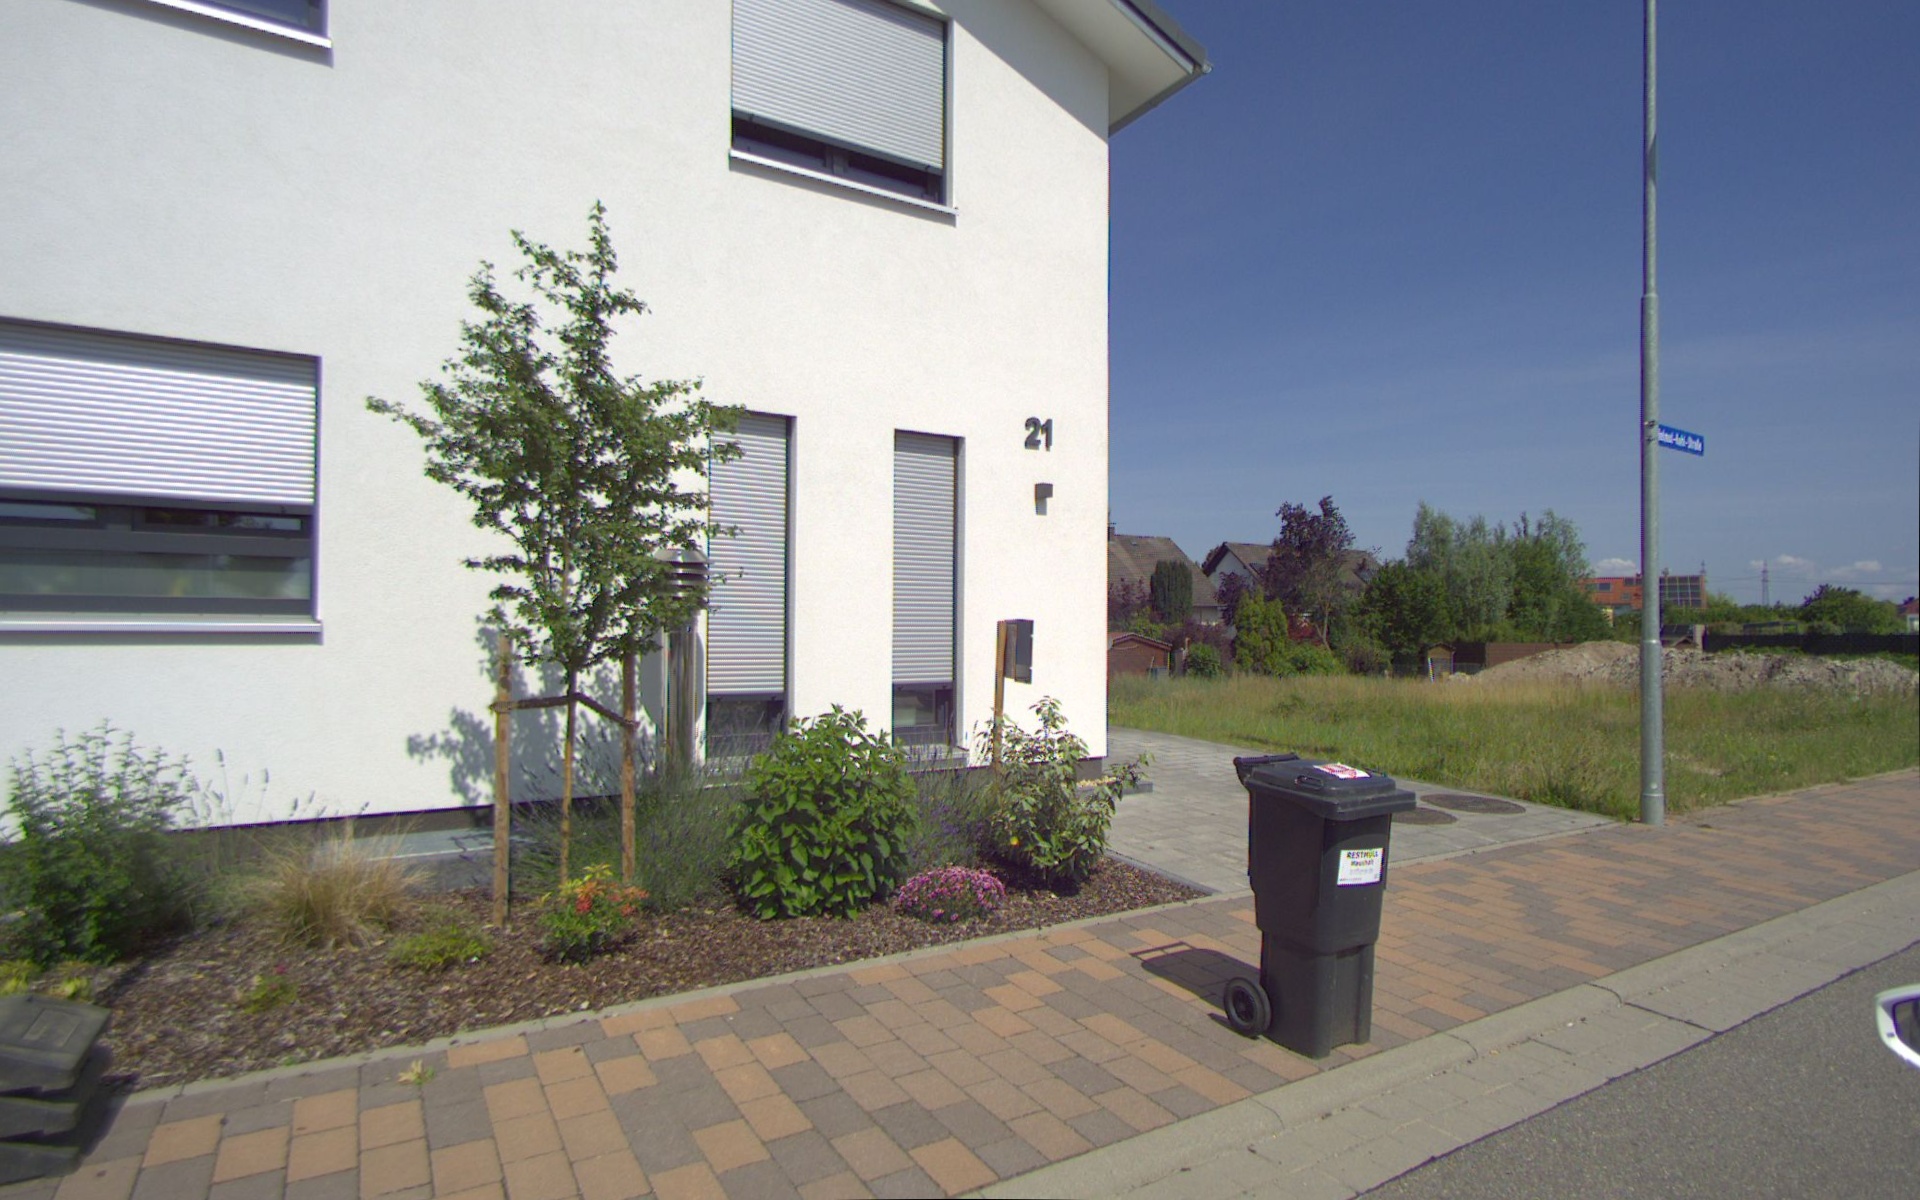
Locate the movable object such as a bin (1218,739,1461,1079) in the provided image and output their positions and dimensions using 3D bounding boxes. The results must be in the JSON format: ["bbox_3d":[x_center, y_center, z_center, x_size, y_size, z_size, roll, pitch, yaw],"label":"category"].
[{"bbox_3d":[1.306,1.004,3.489,0.495,0.961,0.619,3,-2,-36],"label":"movable object such as a bin"}]

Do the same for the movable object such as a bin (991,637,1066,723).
[{"bbox_3d":[0.923,1.066,13.577,0.776,1.113,0.656,2,-3,-32],"label":"movable object such as a bin"}]
